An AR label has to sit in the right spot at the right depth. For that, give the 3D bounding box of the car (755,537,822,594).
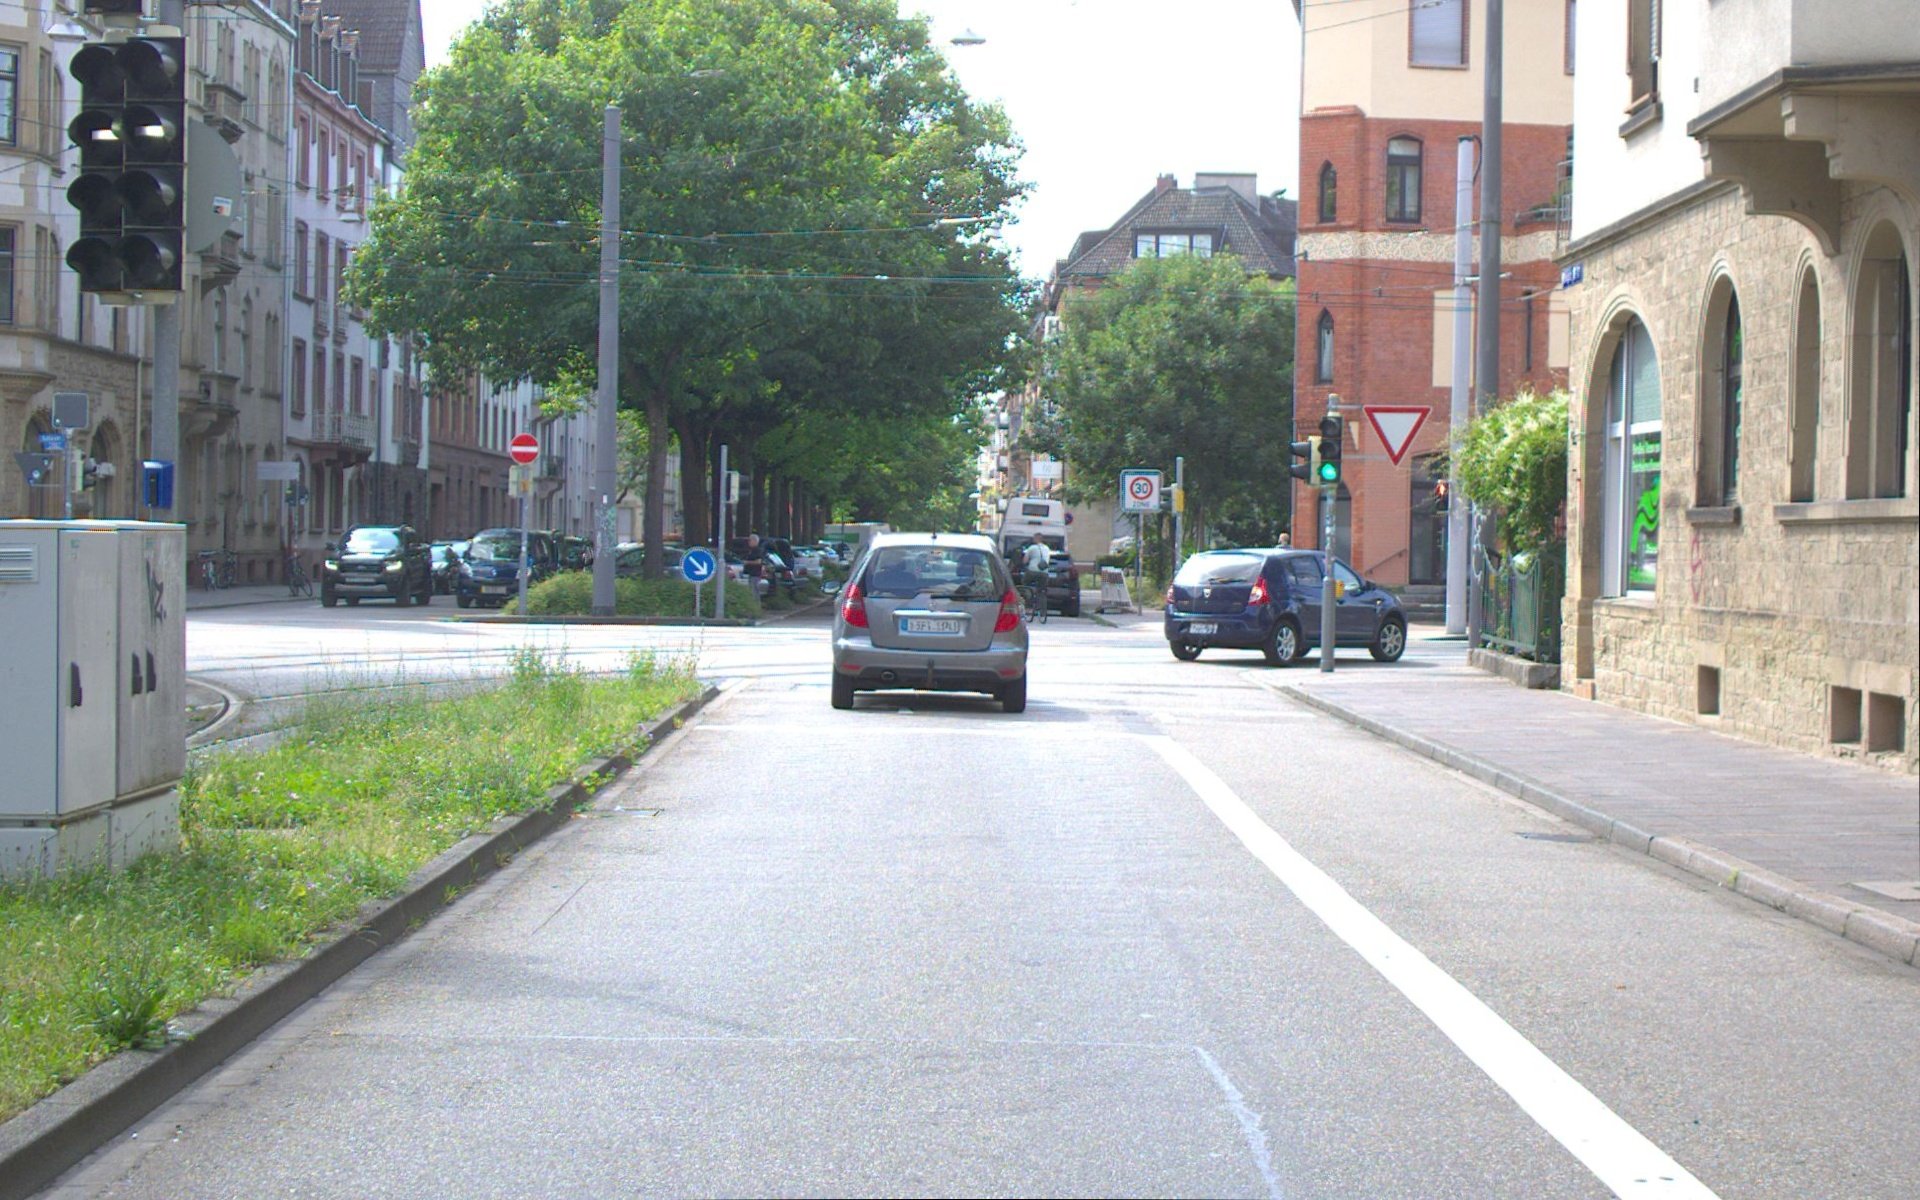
[{"bbox_3d":[-5.069,-1.030,101.882,1.752,1.627,3.499,1,1,0],"label":"car"}]

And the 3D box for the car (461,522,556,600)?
[{"bbox_3d":[-10.322,-0.910,78.735,1.993,1.722,4.001,0,1,-5],"label":"car"}]

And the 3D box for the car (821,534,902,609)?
[{"bbox_3d":[-2.265,-0.680,80.019,1.722,1.700,3.677,0,1,1],"label":"car"}]

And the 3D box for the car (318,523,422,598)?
[{"bbox_3d":[-13.222,-0.897,77.229,1.993,1.612,4.001,0,1,-5],"label":"car"}]

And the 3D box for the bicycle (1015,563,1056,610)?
[{"bbox_3d":[1.569,-0.284,71.506,0.749,0.955,2.298,1,1,4],"label":"bicycle"}]

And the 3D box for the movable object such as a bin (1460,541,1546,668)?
[{"bbox_3d":[6.392,0.045,40.497,0.714,1.467,0.983,0,1,-9],"label":"movable object such as a bin"}]

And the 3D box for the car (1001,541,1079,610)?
[{"bbox_3d":[2.012,-0.623,85.186,1.752,1.627,3.499,1,1,4],"label":"car"}]

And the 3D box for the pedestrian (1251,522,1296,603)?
[{"bbox_3d":[6.504,-0.781,71.369,0.869,1.651,0.736,1,1,5],"label":"pedestrian"}]

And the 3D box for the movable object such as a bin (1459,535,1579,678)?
[{"bbox_3d":[6.193,0.058,38.207,1.050,1.534,2.100,1,1,2],"label":"movable object such as a bin"}]

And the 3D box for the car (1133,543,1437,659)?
[{"bbox_3d":[4.365,0.000,45.859,1.985,1.437,3.990,2,1,43],"label":"car"}]

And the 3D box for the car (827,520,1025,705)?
[{"bbox_3d":[-0.273,0.079,31.870,1.722,1.600,3.677,0,1,1],"label":"car"}]

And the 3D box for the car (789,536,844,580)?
[{"bbox_3d":[-5.079,-1.508,122.402,1.752,1.512,3.499,1,1,0],"label":"car"}]

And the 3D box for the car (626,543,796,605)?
[{"bbox_3d":[-5.816,-0.618,79.980,1.969,1.334,3.999,1,1,-39],"label":"car"}]

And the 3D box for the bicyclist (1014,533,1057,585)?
[{"bbox_3d":[1.571,-0.852,71.404,0.836,1.078,1.400,1,1,4],"label":"bicyclist"}]

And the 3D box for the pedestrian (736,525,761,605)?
[{"bbox_3d":[-4.620,-0.764,75.121,0.493,1.719,0.654,1,1,-4],"label":"pedestrian"}]

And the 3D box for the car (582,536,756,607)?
[{"bbox_3d":[-6.583,-0.660,77.368,1.969,1.489,3.999,1,1,-39],"label":"car"}]

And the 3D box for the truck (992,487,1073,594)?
[{"bbox_3d":[2.093,-1.694,98.028,2.123,2.960,4.000,1,1,4],"label":"truck"}]
